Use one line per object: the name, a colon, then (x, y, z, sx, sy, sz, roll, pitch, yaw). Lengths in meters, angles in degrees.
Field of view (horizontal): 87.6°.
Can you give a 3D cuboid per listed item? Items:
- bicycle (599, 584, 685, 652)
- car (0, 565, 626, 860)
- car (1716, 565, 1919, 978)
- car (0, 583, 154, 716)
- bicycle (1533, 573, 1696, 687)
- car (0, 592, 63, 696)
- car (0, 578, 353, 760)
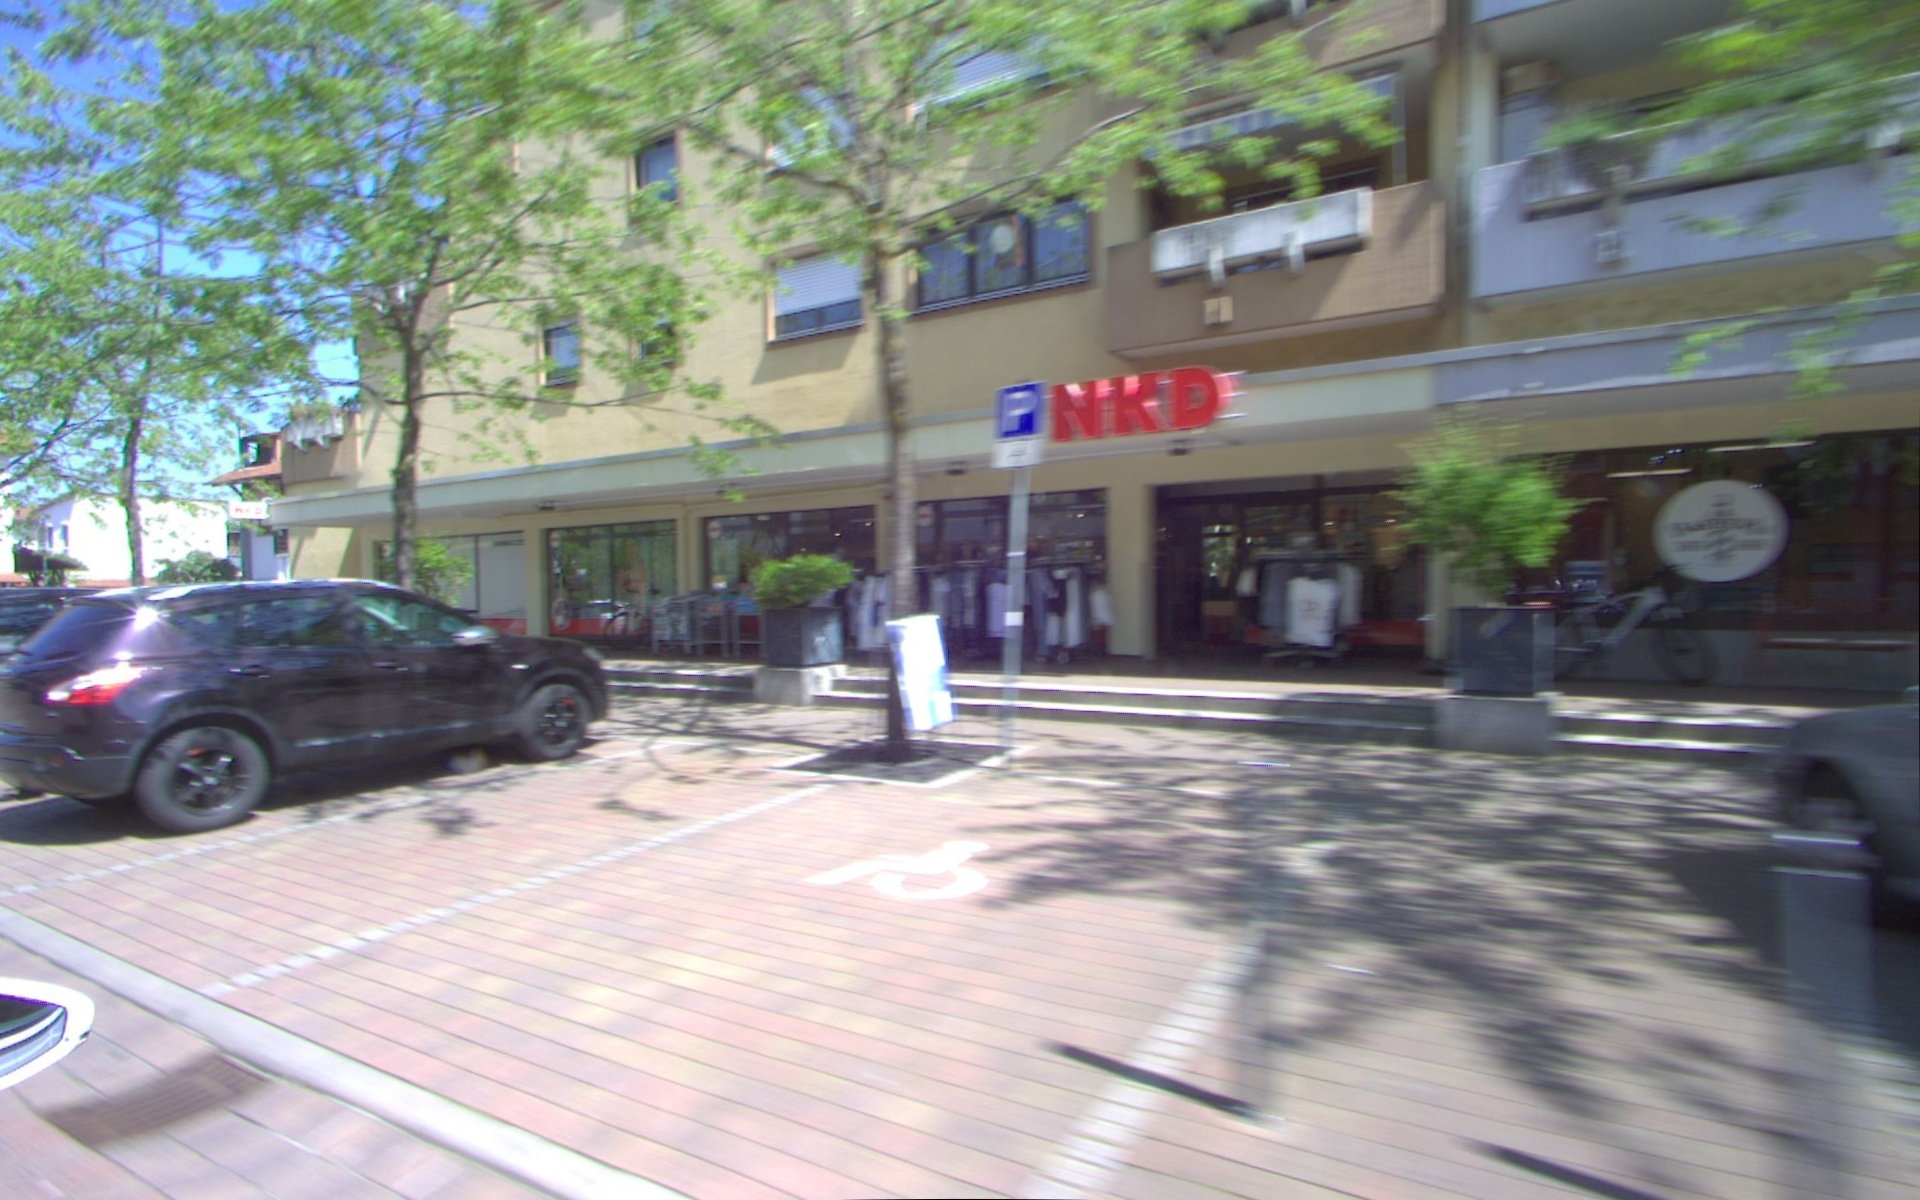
bicycle: (-5.565, 0.325, 17.474, 1.750, 1.138, 0.411, -1, 0, 34)
car: (-4.821, 0.594, 7.843, 1.657, 1.634, 4.017, -1, 2, 31)
car: (4.176, 0.613, 2.543, 1.855, 1.483, 4.383, -1, 1, 11)
car: (-13.517, 0.672, 13.020, 1.970, 1.704, 4.272, 0, 2, 29)
bicycle: (6.431, 0.297, 9.896, 1.291, 1.081, 0.360, -1, 0, 22)
car: (-16.009, 0.744, 14.616, 1.797, 1.555, 3.936, 0, 2, 30)
car: (-9.056, 0.628, 10.248, 1.824, 1.610, 4.495, 0, 2, 34)
